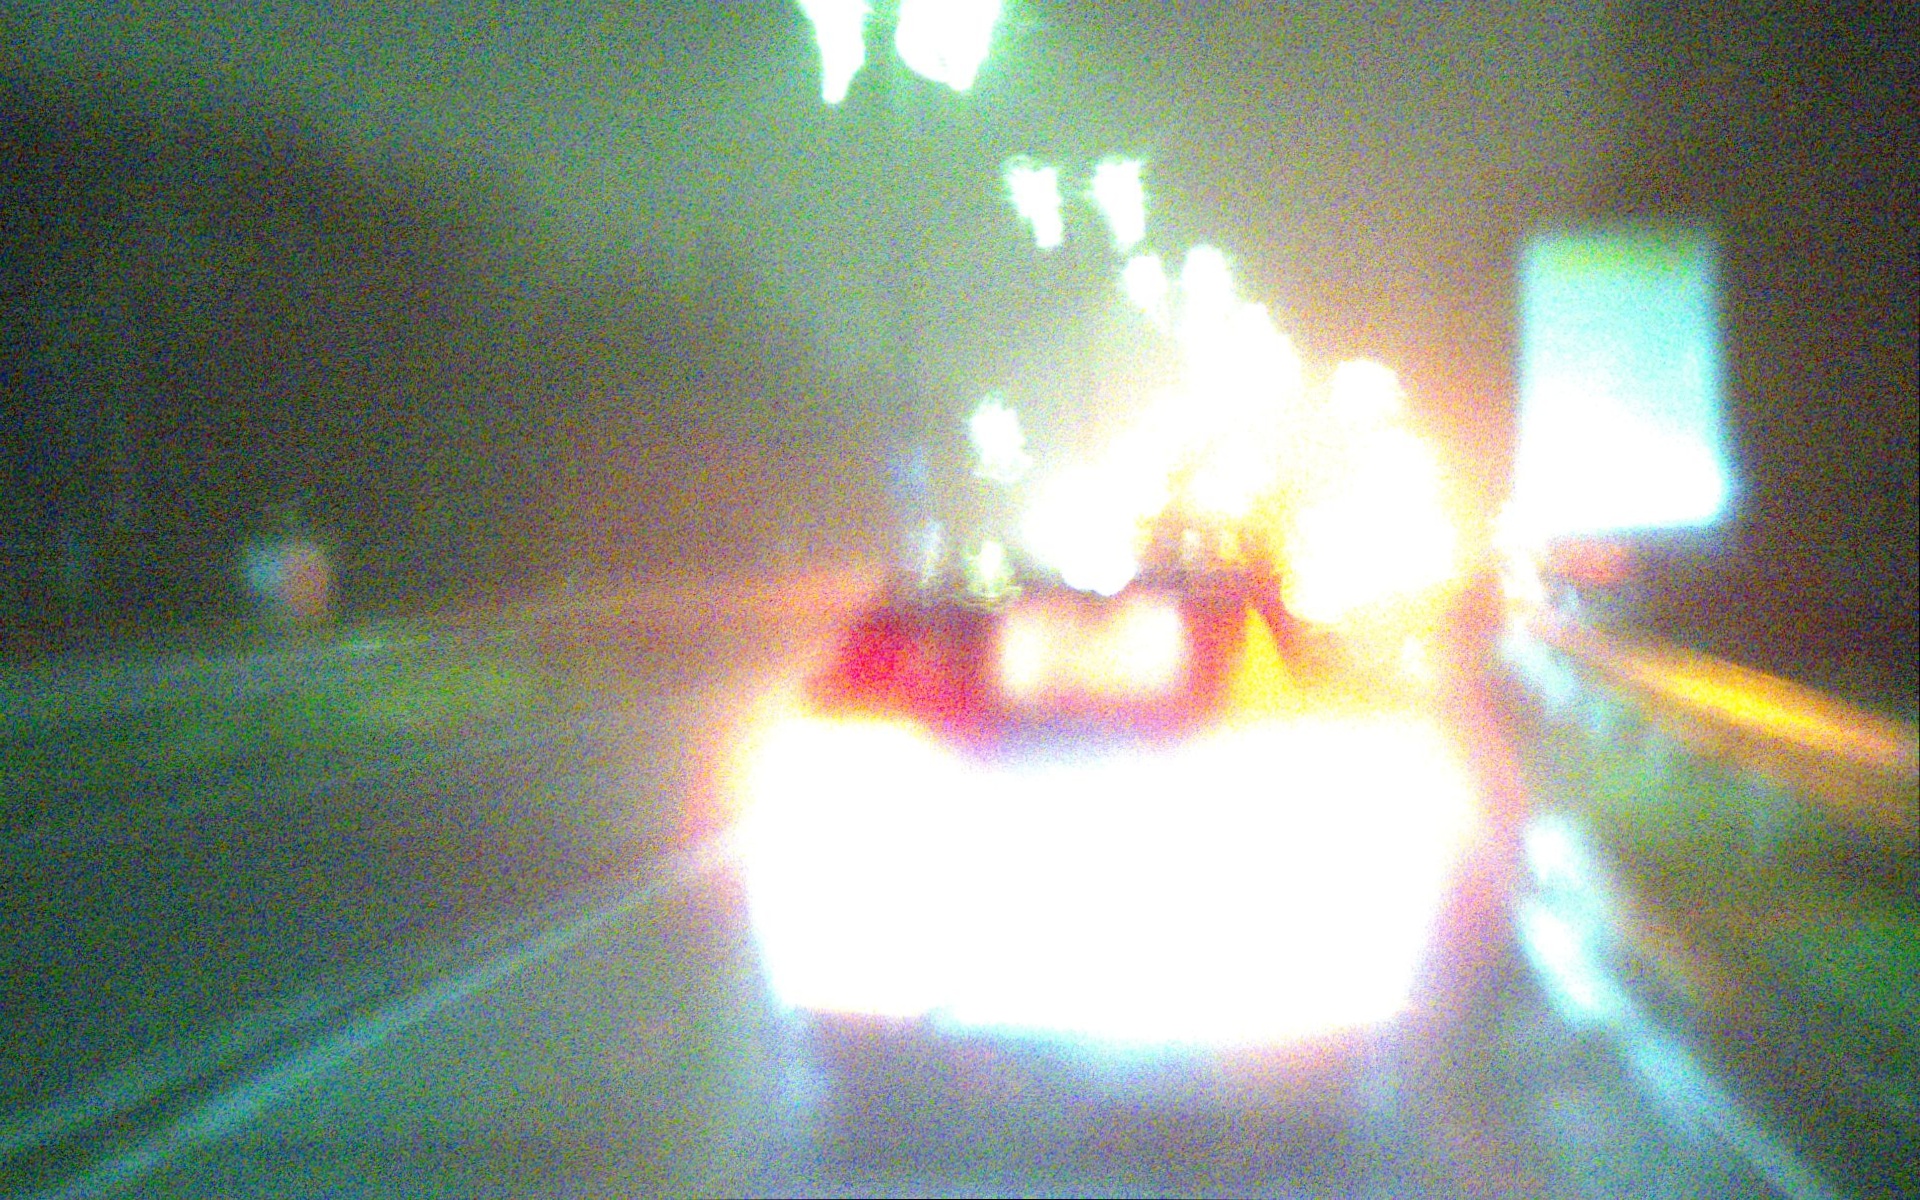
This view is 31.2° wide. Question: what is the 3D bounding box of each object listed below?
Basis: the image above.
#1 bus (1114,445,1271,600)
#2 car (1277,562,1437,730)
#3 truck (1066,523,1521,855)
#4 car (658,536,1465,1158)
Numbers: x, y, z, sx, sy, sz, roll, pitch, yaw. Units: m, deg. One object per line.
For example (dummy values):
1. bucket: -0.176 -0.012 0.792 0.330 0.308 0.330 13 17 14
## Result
1. bus: 5.128 -1.673 74.390 2.744 3.112 9.199 1 1 8
2. car: 4.924 0.539 42.353 1.836 1.942 3.999 1 0 8
3. truck: 3.136 0.687 30.192 3.071 2.520 7.162 1 0 13
4. car: 0.418 0.580 10.166 1.944 1.486 3.715 0 1 6
